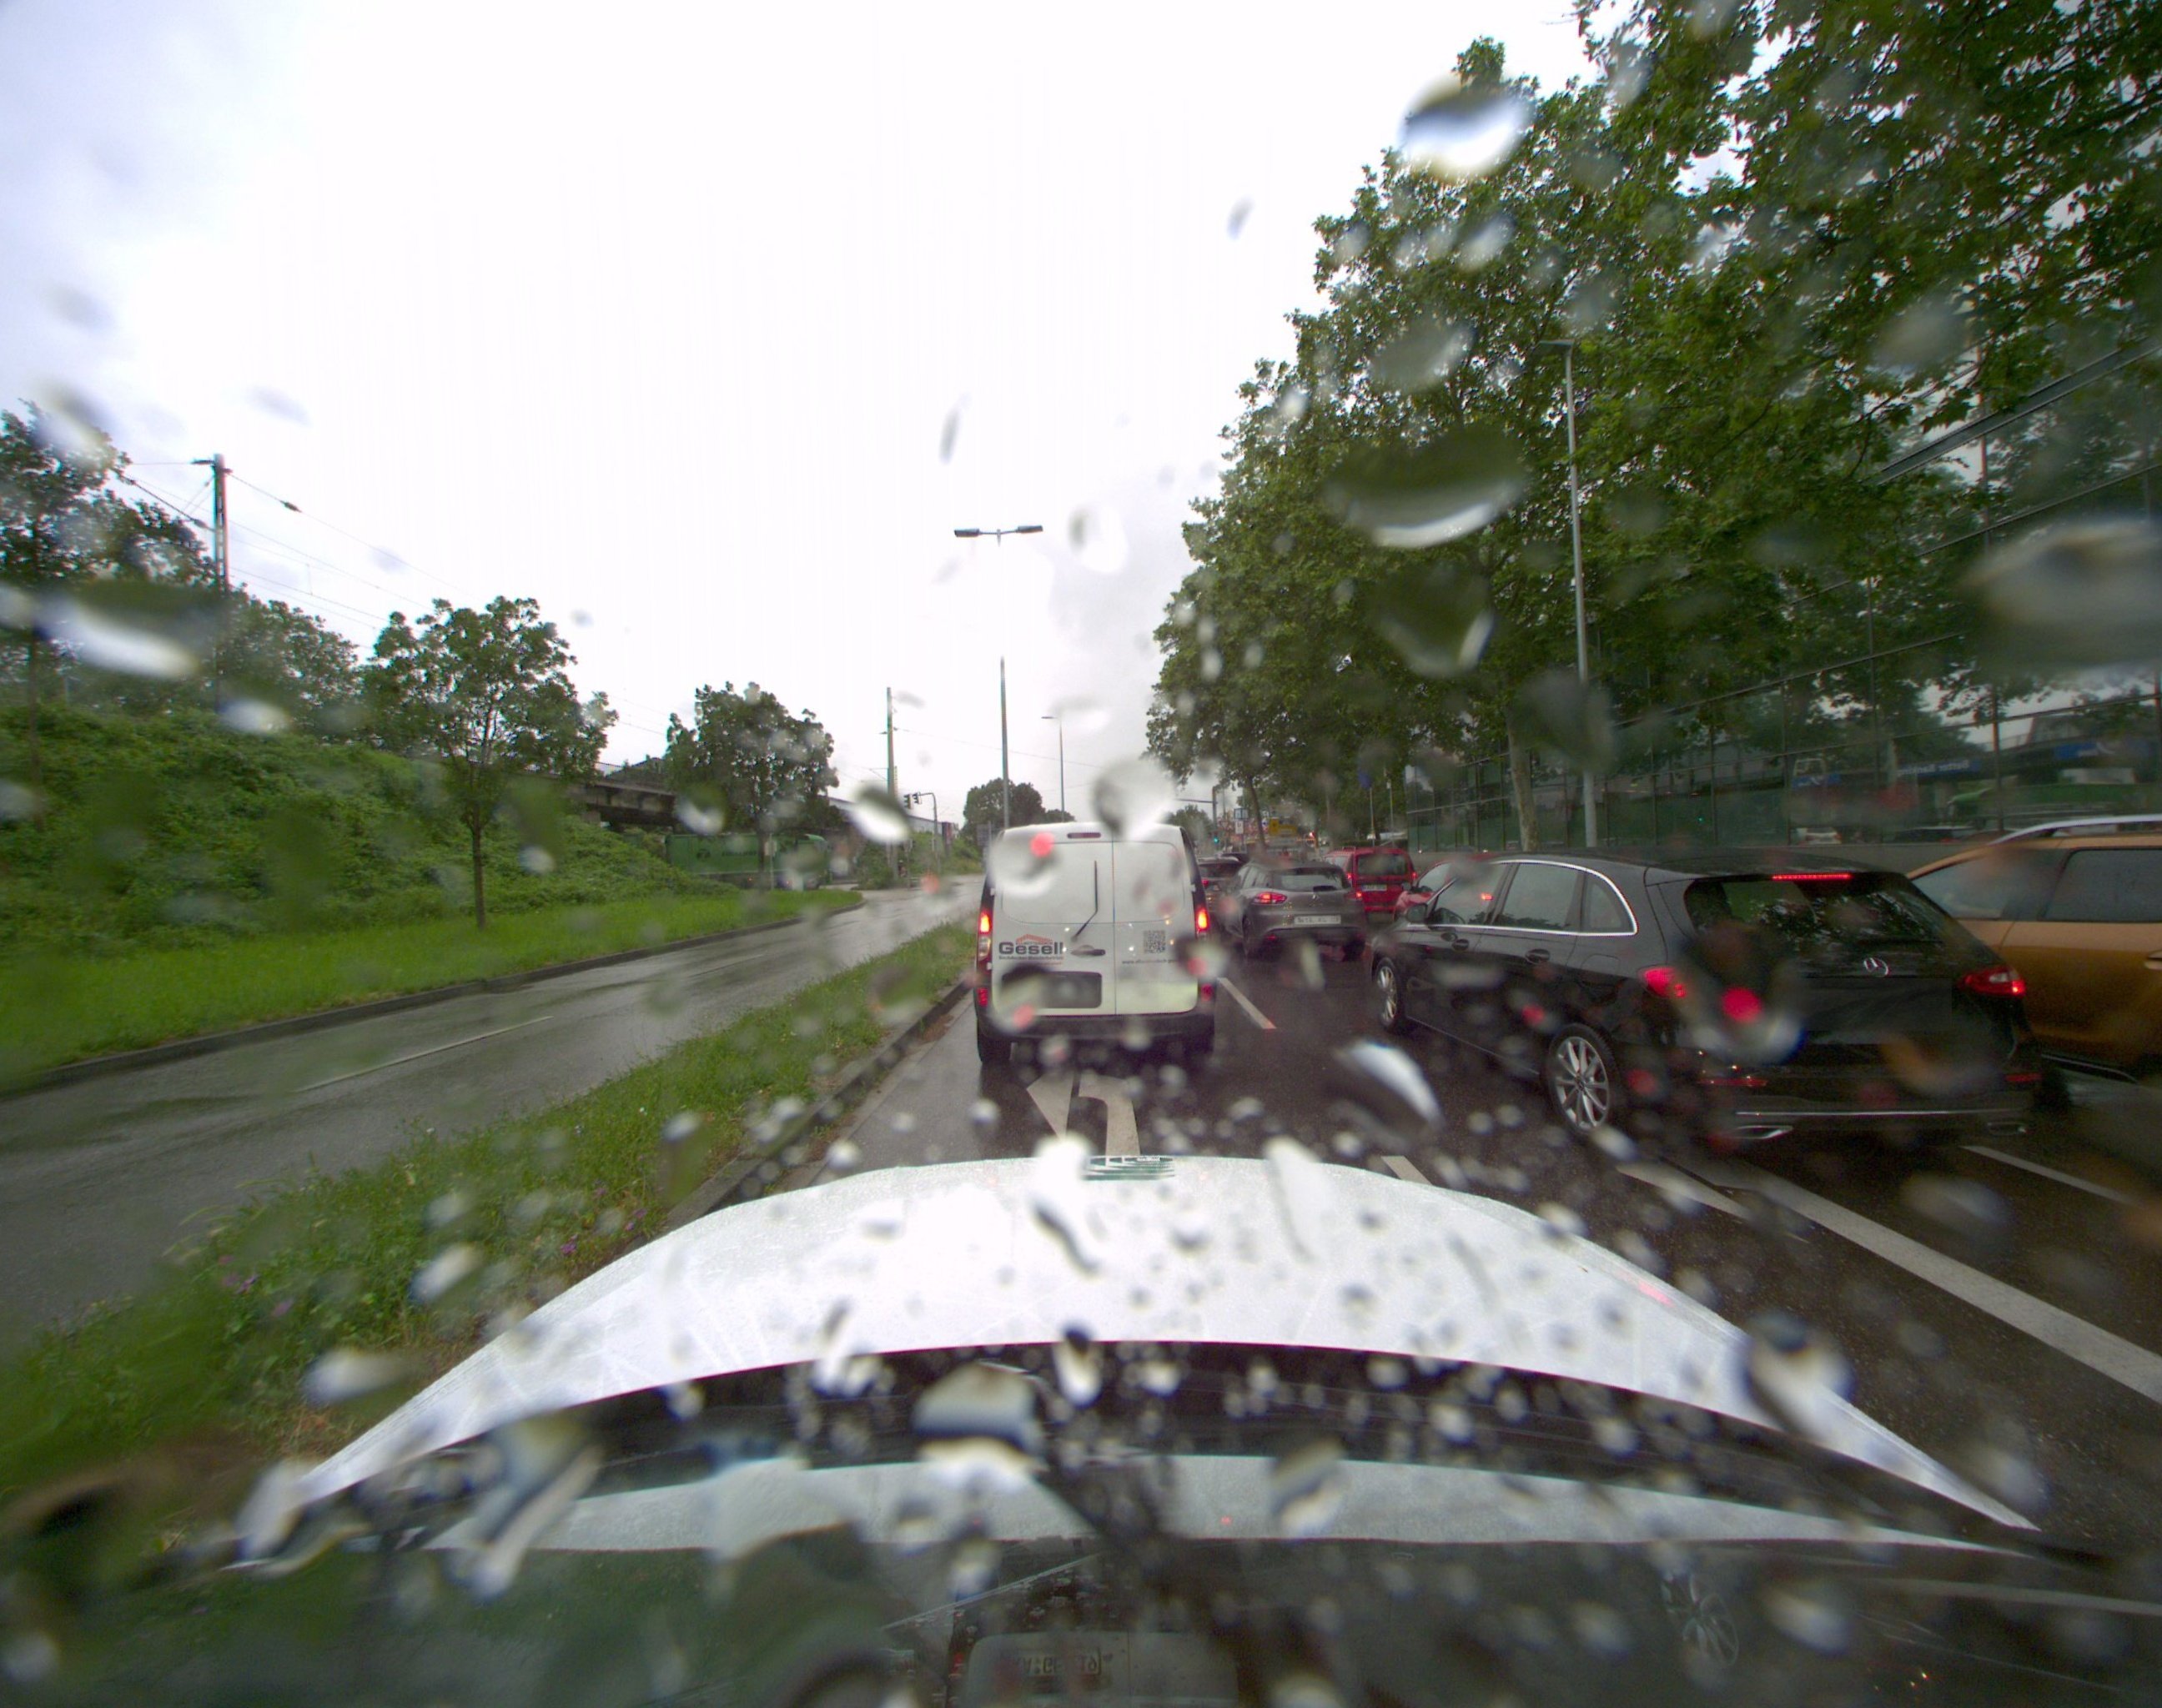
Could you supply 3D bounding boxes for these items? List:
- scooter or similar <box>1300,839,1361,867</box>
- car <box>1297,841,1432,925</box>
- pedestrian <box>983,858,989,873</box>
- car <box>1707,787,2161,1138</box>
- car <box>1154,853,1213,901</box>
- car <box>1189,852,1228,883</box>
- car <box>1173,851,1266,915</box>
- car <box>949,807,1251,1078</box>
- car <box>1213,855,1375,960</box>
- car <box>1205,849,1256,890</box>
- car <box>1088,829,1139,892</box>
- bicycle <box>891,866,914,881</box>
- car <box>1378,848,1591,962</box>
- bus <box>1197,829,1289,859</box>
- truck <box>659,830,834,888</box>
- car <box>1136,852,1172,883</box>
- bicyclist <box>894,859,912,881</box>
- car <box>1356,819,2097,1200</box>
[{"bbox_3d":[23.446,-0.083,76.676,1.905,2.446,5.257,-1,0,-39],"label":"scooter or similar"},{"bbox_3d":[6.312,0.616,18.667,1.704,1.694,4.273,0,-1,2],"label":"car"},{"bbox_3d":[-11.240,1.364,96.343,0.541,1.716,0.563,0,-1,-2],"label":"pedestrian"},{"bbox_3d":[6.055,0.517,4.779,1.668,1.685,4.149,0,1,2],"label":"car"},{"bbox_3d":[3.790,0.820,30.659,1.847,1.649,3.844,-1,0,2],"label":"car"},{"bbox_3d":[7.145,0.766,45.927,1.702,1.650,3.844,-1,-1,2],"label":"car"},{"bbox_3d":[3.460,0.672,20.989,1.847,1.460,3.844,-1,0,2],"label":"car"},{"bbox_3d":[0.197,0.590,7.761,1.986,1.776,4.587,-1,0,2],"label":"car"},{"bbox_3d":[3.251,0.739,13.149,1.677,1.408,3.844,0,0,1],"label":"car"},{"bbox_3d":[6.697,0.657,36.788,1.701,1.728,3.844,-1,0,2],"label":"car"},{"bbox_3d":[1.273,0.227,32.063,1.847,2.296,3.844,-1,0,2],"label":"car"},{"bbox_3d":[-12.264,1.338,55.951,1.045,0.952,2.866,-2,0,-22],"label":"bicycle"},{"bbox_3d":[5.888,0.661,12.333,1.563,1.462,3.390,-1,0,1],"label":"car"},{"bbox_3d":[21.886,-1.356,110.581,11.926,3.423,2.316,-2,0,1],"label":"bus"},{"bbox_3d":[-21.299,0.214,52.307,10.105,3.371,2.322,-2,0,-35],"label":"truck"},{"bbox_3d":[4.211,0.770,47.649,1.847,1.650,3.844,-1,-1,2],"label":"car"},{"bbox_3d":[-12.239,1.085,55.887,1.045,1.450,0.723,-2,0,-23],"label":"bicyclist"},{"bbox_3d":[3.380,0.647,5.438,1.741,1.554,4.091,-1,0,1],"label":"car"}]
